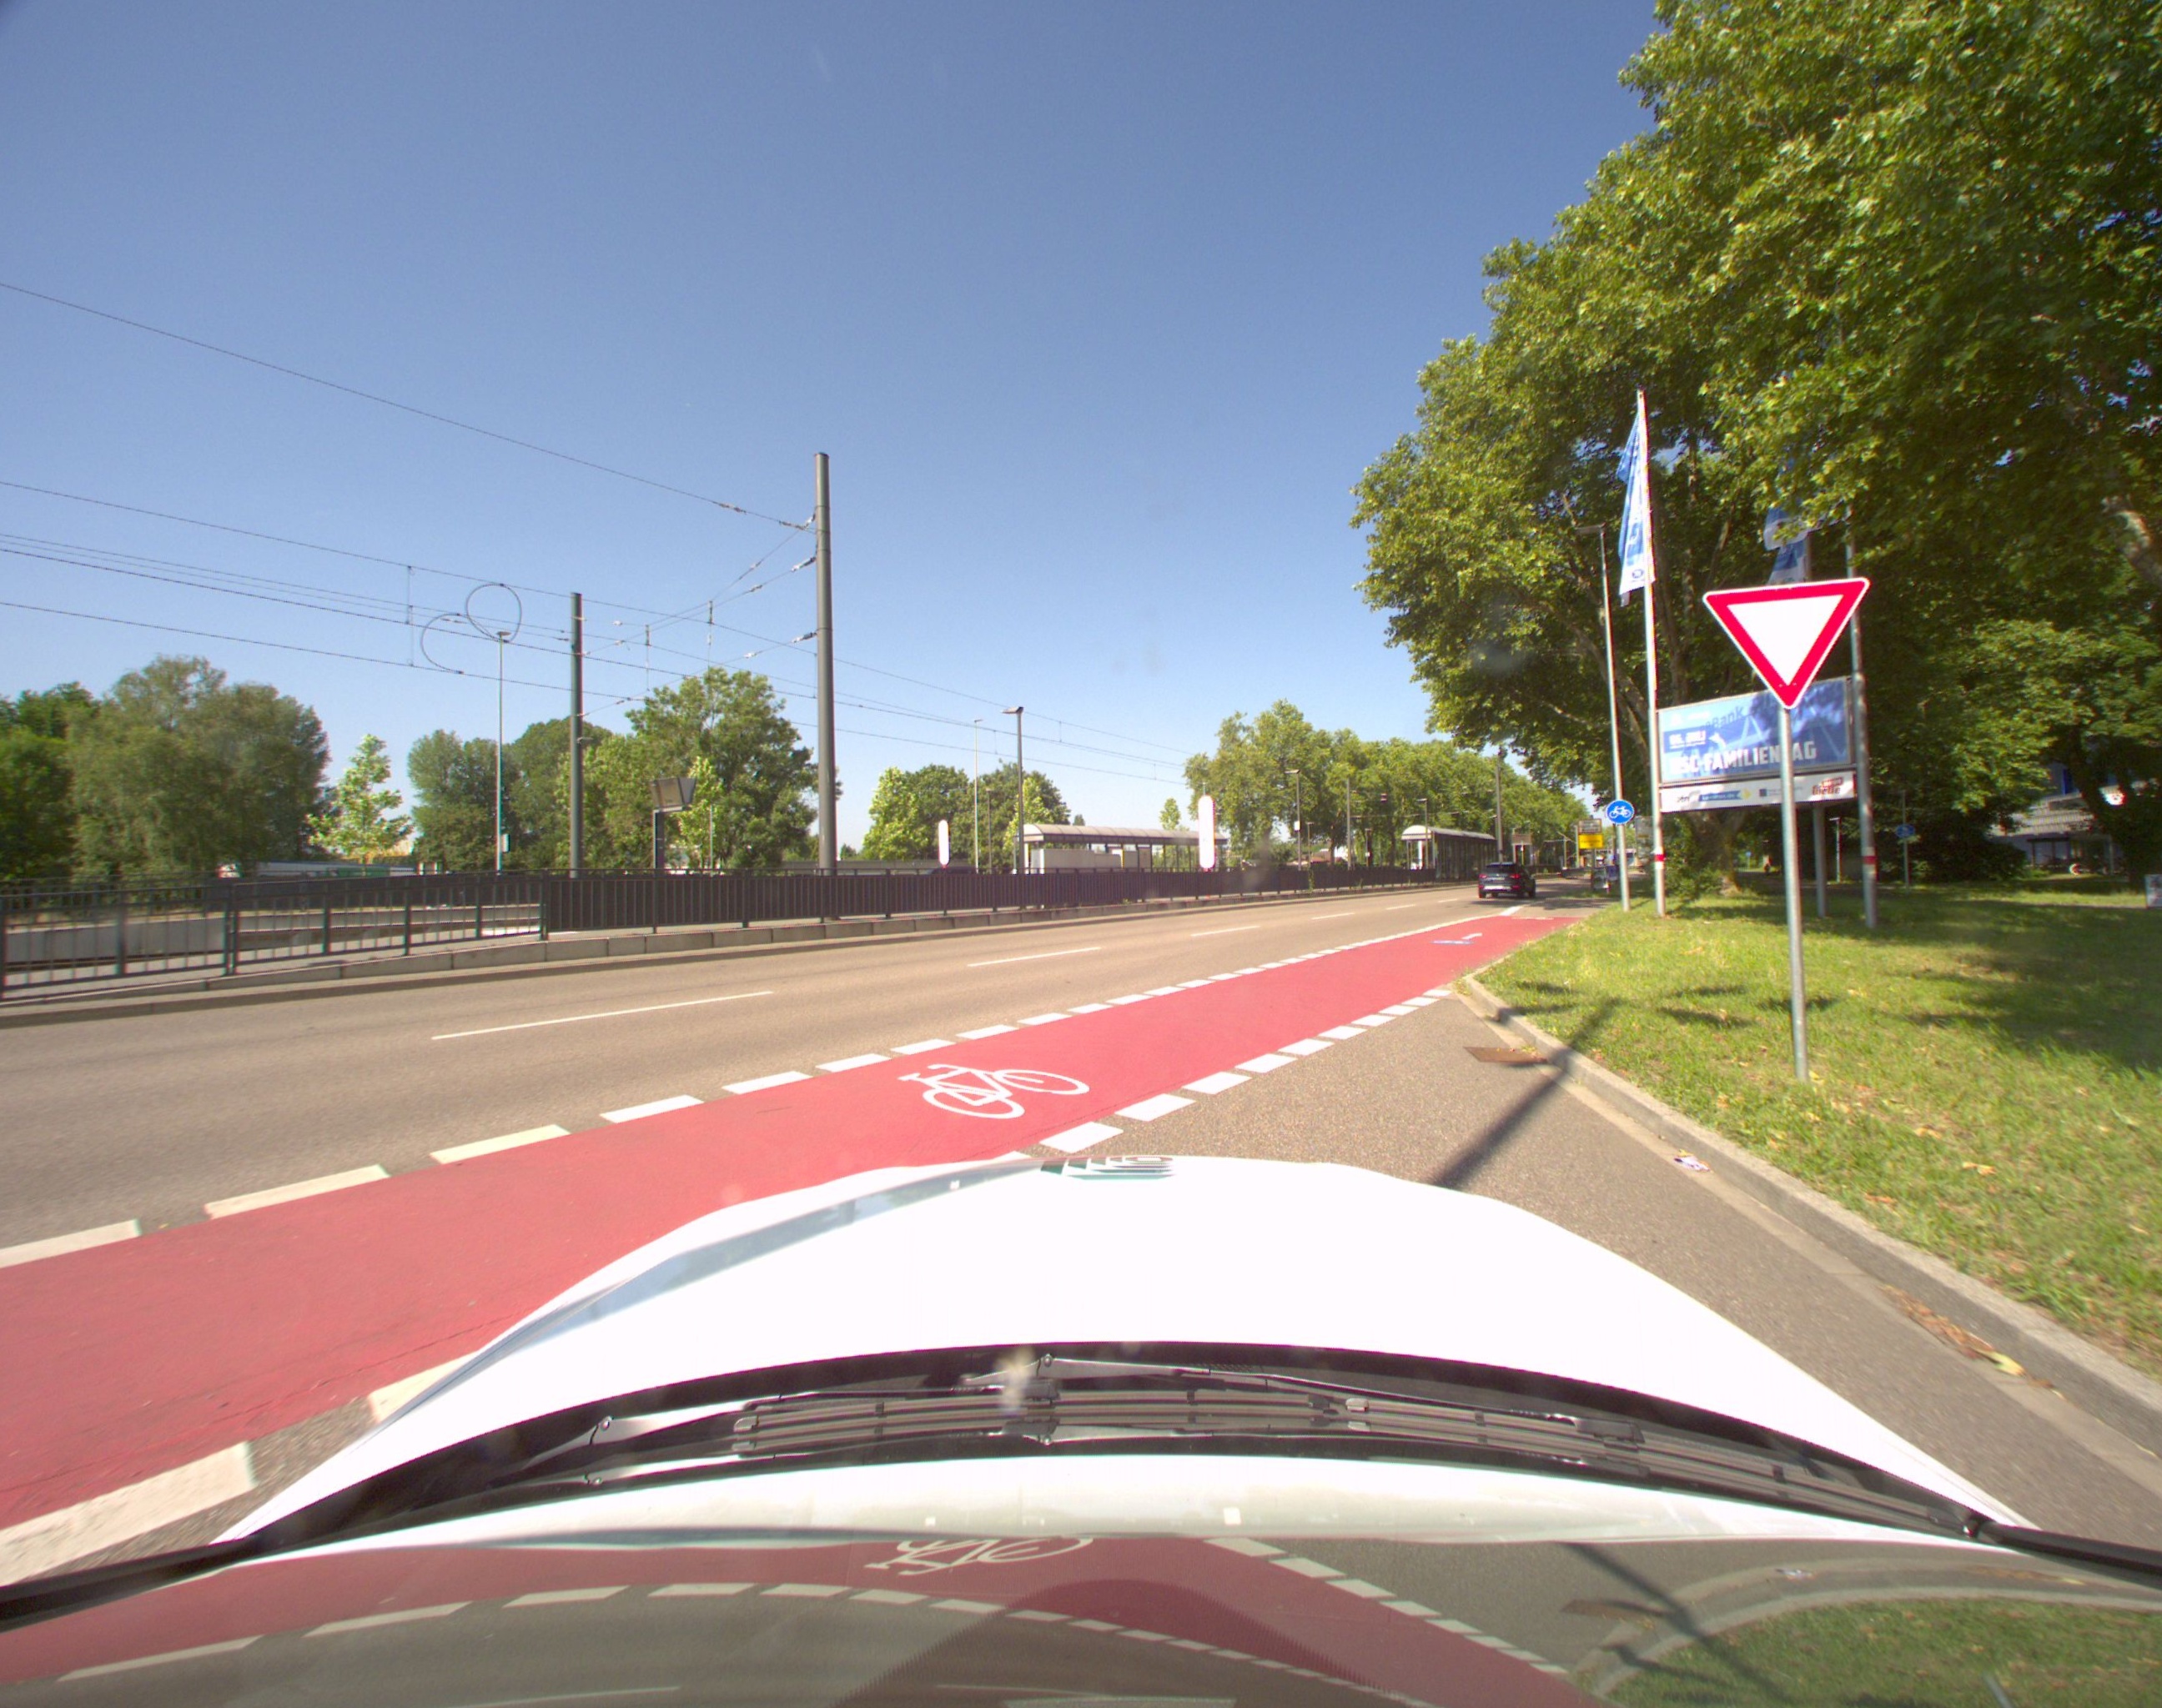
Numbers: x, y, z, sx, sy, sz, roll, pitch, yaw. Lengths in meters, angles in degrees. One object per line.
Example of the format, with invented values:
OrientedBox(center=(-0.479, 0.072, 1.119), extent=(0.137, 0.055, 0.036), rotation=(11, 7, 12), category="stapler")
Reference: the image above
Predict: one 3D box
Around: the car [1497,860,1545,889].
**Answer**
OrientedBox(center=(28.051, 1.285, 51.812), extent=(1.908, 1.713, 4.187), rotation=(-3, -3, 39), category="car")

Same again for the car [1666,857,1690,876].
OrientedBox(center=(63.752, 1.341, 86.956), extent=(1.974, 2.014, 4.025), rotation=(-3, -3, 37), category="car")

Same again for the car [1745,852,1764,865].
OrientedBox(center=(108.318, 0.700, 130.918), extent=(1.975, 2.014, 4.024), rotation=(-4, -3, 43), category="car")

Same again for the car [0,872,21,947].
OrientedBox(center=(-22.797, 1.082, 14.962), extent=(1.724, 1.445, 4.025), rotation=(-1, -1, 38), category="car")

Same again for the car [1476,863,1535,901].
OrientedBox(center=(18.087, 1.187, 34.637), extent=(1.653, 1.523, 3.398), rotation=(-2, -2, 37), category="car")
